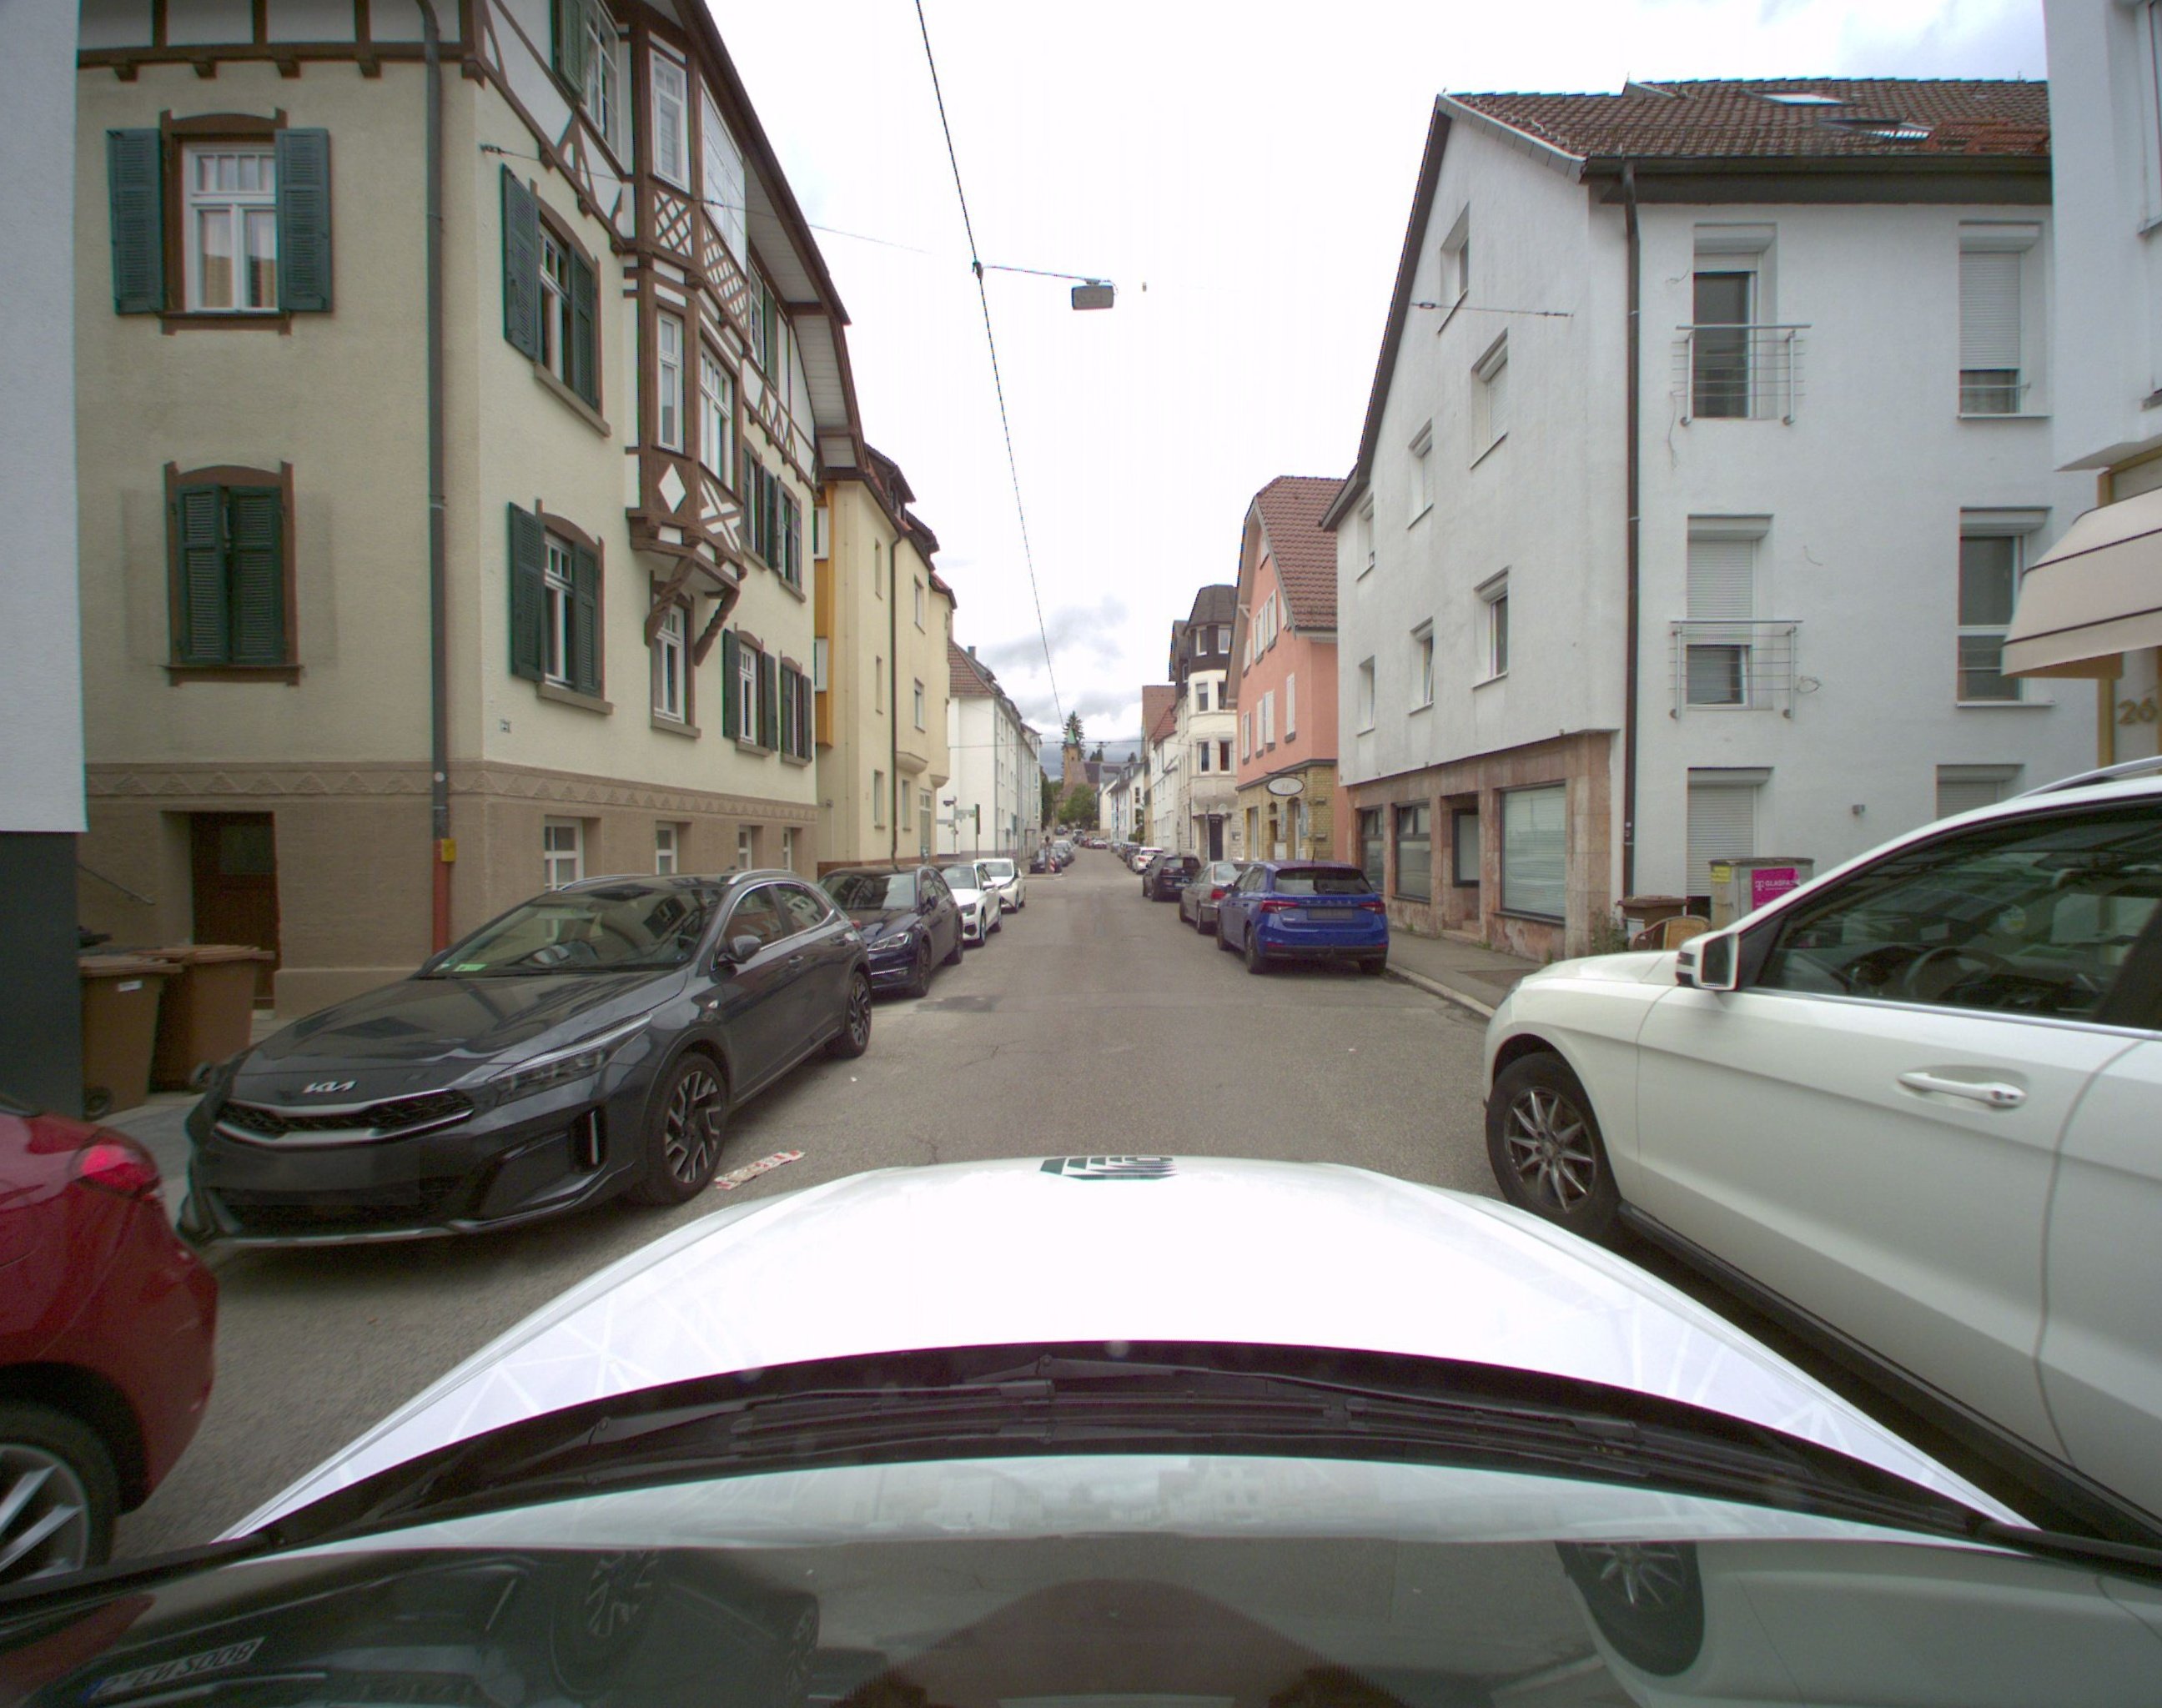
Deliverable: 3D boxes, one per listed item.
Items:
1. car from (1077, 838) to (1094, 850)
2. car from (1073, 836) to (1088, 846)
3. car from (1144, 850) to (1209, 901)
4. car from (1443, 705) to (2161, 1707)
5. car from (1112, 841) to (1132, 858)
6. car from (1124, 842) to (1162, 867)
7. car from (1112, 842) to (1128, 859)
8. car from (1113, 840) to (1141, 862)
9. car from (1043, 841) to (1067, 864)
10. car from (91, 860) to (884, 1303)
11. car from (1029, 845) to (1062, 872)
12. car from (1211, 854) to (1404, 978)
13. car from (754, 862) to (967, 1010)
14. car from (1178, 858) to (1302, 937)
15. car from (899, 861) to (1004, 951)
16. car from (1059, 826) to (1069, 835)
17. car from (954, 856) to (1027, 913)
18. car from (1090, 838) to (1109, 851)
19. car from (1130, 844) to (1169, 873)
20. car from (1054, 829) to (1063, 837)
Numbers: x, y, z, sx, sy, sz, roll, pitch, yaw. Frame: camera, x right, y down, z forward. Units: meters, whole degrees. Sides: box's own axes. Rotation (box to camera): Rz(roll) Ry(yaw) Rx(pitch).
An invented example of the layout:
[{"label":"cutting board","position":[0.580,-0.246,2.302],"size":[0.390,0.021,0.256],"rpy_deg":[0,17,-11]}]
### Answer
[{"label":"car","position":[0.612,-1.479,116.854],"size":[1.888,1.645,3.963],"rpy_deg":[2,2,-8]},{"label":"car","position":[-0.167,-2.157,133.615],"size":[1.888,1.604,3.705],"rpy_deg":[2,1,-8]},{"label":"car","position":[3.145,0.673,27.555],"size":[1.707,1.549,3.801],"rpy_deg":[2,0,0]},{"label":"car","position":[2.744,0.609,1.770],"size":[1.928,1.712,4.375],"rpy_deg":[0,0,-1]},{"label":"car","position":[3.361,-0.364,67.499],"size":[1.404,1.305,2.899],"rpy_deg":[1,2,-3]},{"label":"car","position":[3.998,0.031,52.870],"size":[1.950,1.574,3.995],"rpy_deg":[1,0,-3]},{"label":"car","position":[4.167,-0.369,87.010],"size":[1.573,1.759,3.211],"rpy_deg":[1,-1,1]},{"label":"car","position":[3.499,-0.262,62.894],"size":[1.724,1.574,3.830],"rpy_deg":[1,2,-3]},{"label":"car","position":[-1.778,-0.151,57.313],"size":[1.535,1.515,3.378],"rpy_deg":[2,1,0]},{"label":"car","position":[-2.631,0.837,4.933],"size":[1.762,1.495,3.982],"rpy_deg":[-3,0,1]},{"label":"car","position":[-2.065,0.219,48.170],"size":[1.668,1.464,4.000],"rpy_deg":[1,1,0]},{"label":"car","position":[3.011,0.746,11.631],"size":[1.768,1.475,3.783],"rpy_deg":[0,0,1]},{"label":"car","position":[-2.522,0.855,10.235],"size":[1.601,1.424,3.853],"rpy_deg":[-1,0,0]},{"label":"car","position":[3.122,0.796,16.742],"size":[1.743,1.391,4.031],"rpy_deg":[1,0,0]},{"label":"car","position":[-2.273,0.855,15.066],"size":[1.278,1.359,3.805],"rpy_deg":[-1,0,0]},{"label":"car","position":[-3.861,-5.292,184.428],"size":[1.818,1.923,3.745],"rpy_deg":[2,2,-5]},{"label":"car","position":[-2.444,0.796,22.758],"size":[1.581,1.422,3.401],"rpy_deg":[-1,0,1]},{"label":"car","position":[2.412,-1.255,105.803],"size":[1.758,1.666,3.990],"rpy_deg":[2,1,-8]},{"label":"car","position":[3.963,0.248,47.575],"size":[1.762,1.525,3.898],"rpy_deg":[1,2,-3]},{"label":"car","position":[-4.811,-4.513,173.847],"size":[1.744,1.683,3.595],"rpy_deg":[2,1,-4]}]
